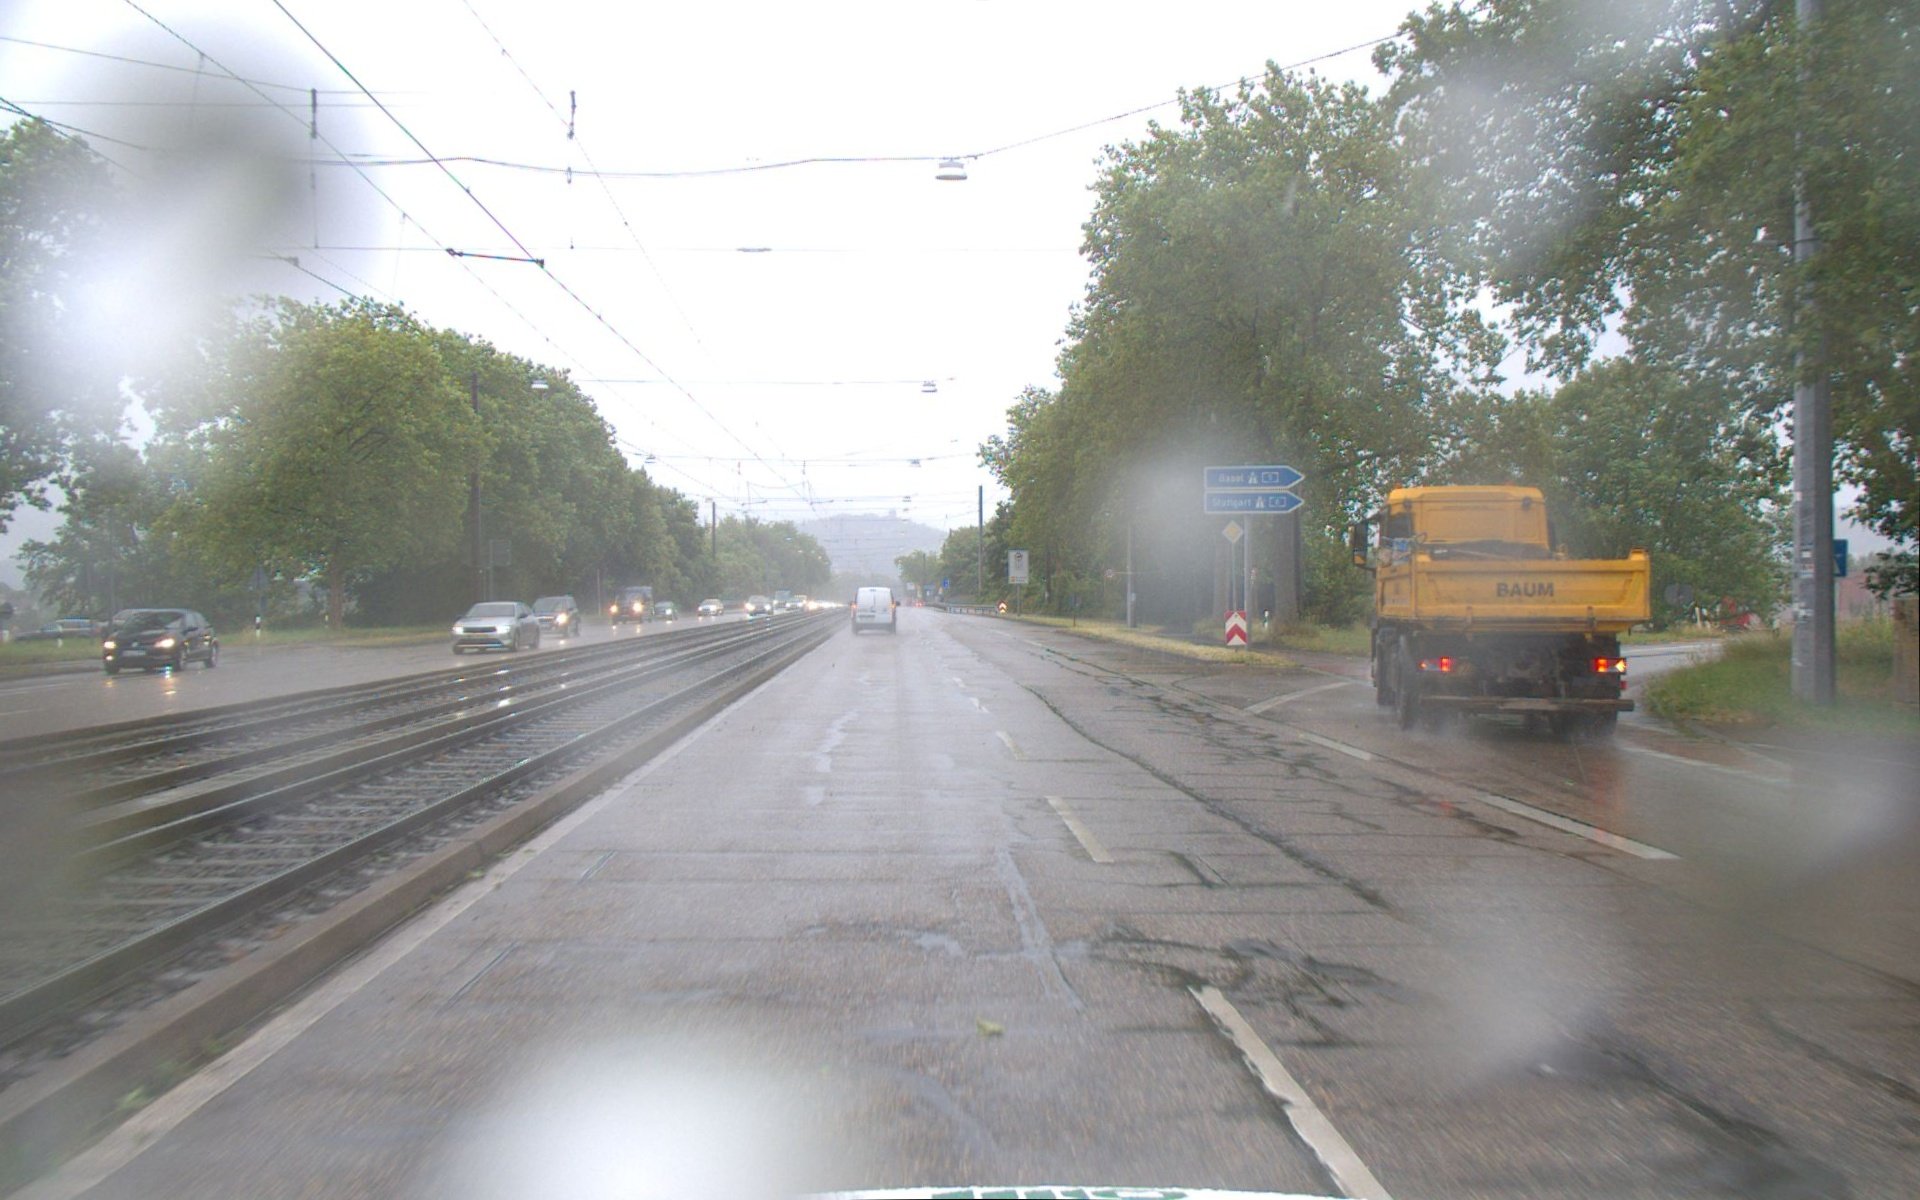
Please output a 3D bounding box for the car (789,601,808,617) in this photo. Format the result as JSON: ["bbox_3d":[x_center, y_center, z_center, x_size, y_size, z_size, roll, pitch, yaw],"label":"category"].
[{"bbox_3d":[-17.846,0.941,182.705,1.740,1.612,5.679,1,1,-3],"label":"car"}]

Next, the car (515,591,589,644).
[{"bbox_3d":[-15.462,0.646,62.904,1.850,1.841,5.001,1,1,-4],"label":"car"}]

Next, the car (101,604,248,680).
[{"bbox_3d":[-18.125,0.927,38.367,1.655,1.579,3.998,1,1,-3],"label":"car"}]

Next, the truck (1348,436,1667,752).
[{"bbox_3d":[6.619,-0.127,21.038,2.501,3.314,6.938,1,1,7],"label":"truck"}]

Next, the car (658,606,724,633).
[{"bbox_3d":[-19.858,1.431,122.218,2.048,1.829,4.744,2,1,37],"label":"car"}]

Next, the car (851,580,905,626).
[{"bbox_3d":[-3.182,0.086,64.584,1.949,1.713,3.739,1,1,-1],"label":"car"}]

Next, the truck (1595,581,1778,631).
[{"bbox_3d":[72.320,0.631,164.905,16.403,4.231,3.286,-3,-1,29],"label":"truck"}]

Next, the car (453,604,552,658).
[{"bbox_3d":[-13.111,0.850,47.652,1.706,1.377,4.544,1,1,-2],"label":"car"}]

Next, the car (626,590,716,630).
[{"bbox_3d":[-18.738,0.622,107.370,2.292,2.468,5.827,2,1,35],"label":"car"}]

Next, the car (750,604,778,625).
[{"bbox_3d":[-16.539,1.208,140.071,1.754,1.576,5.313,1,1,0],"label":"car"}]

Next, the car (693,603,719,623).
[{"bbox_3d":[-23.081,1.170,150.271,1.783,1.735,5.018,1,1,-3],"label":"car"}]
